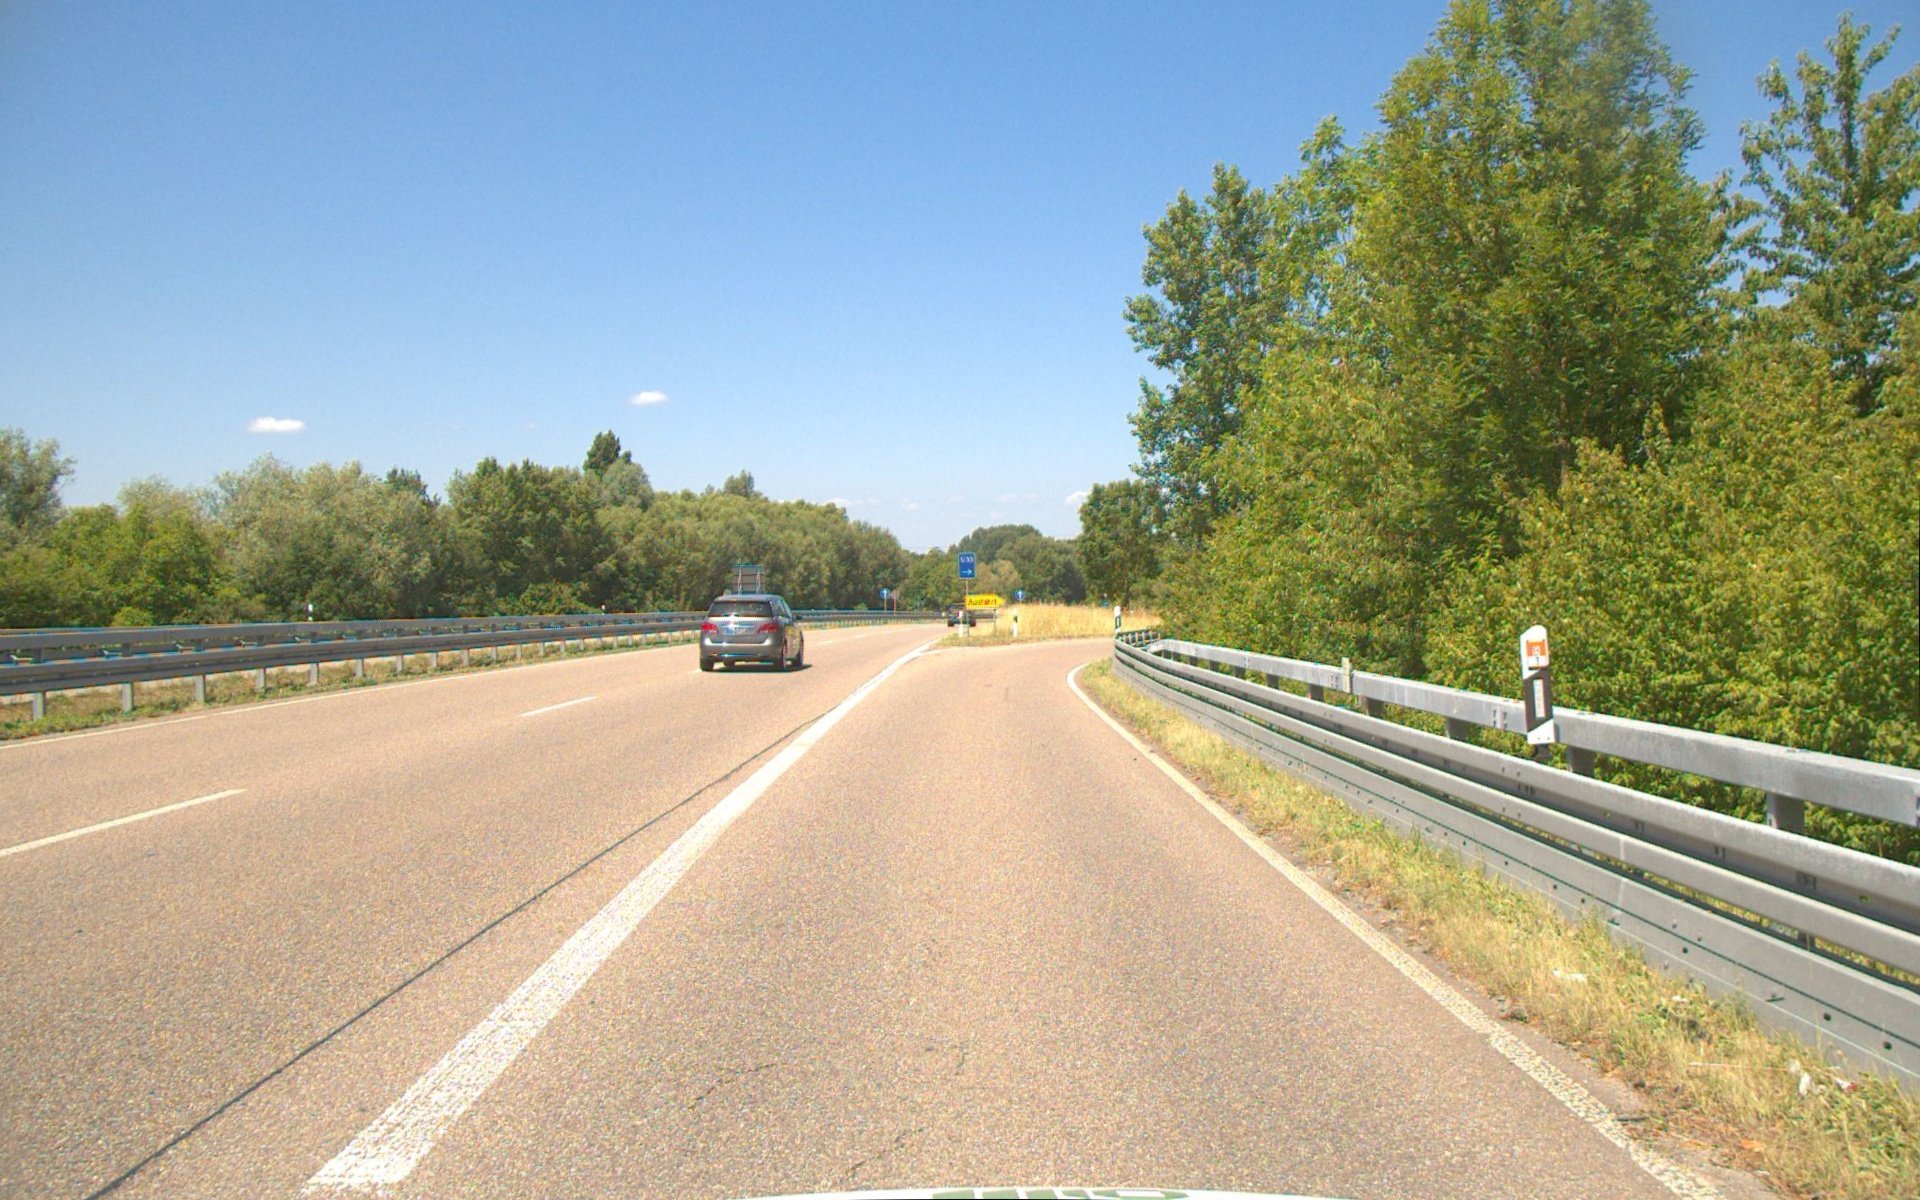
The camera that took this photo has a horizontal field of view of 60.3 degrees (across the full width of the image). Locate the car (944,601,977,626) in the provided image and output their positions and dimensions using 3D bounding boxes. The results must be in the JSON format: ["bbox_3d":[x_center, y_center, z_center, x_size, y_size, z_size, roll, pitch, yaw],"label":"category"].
[{"bbox_3d":[0.063,0.933,113.419,1.802,1.556,4.473,1,1,5],"label":"car"}]

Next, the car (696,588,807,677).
[{"bbox_3d":[-4.394,0.640,35.445,1.756,1.696,4.555,1,1,0],"label":"car"}]
